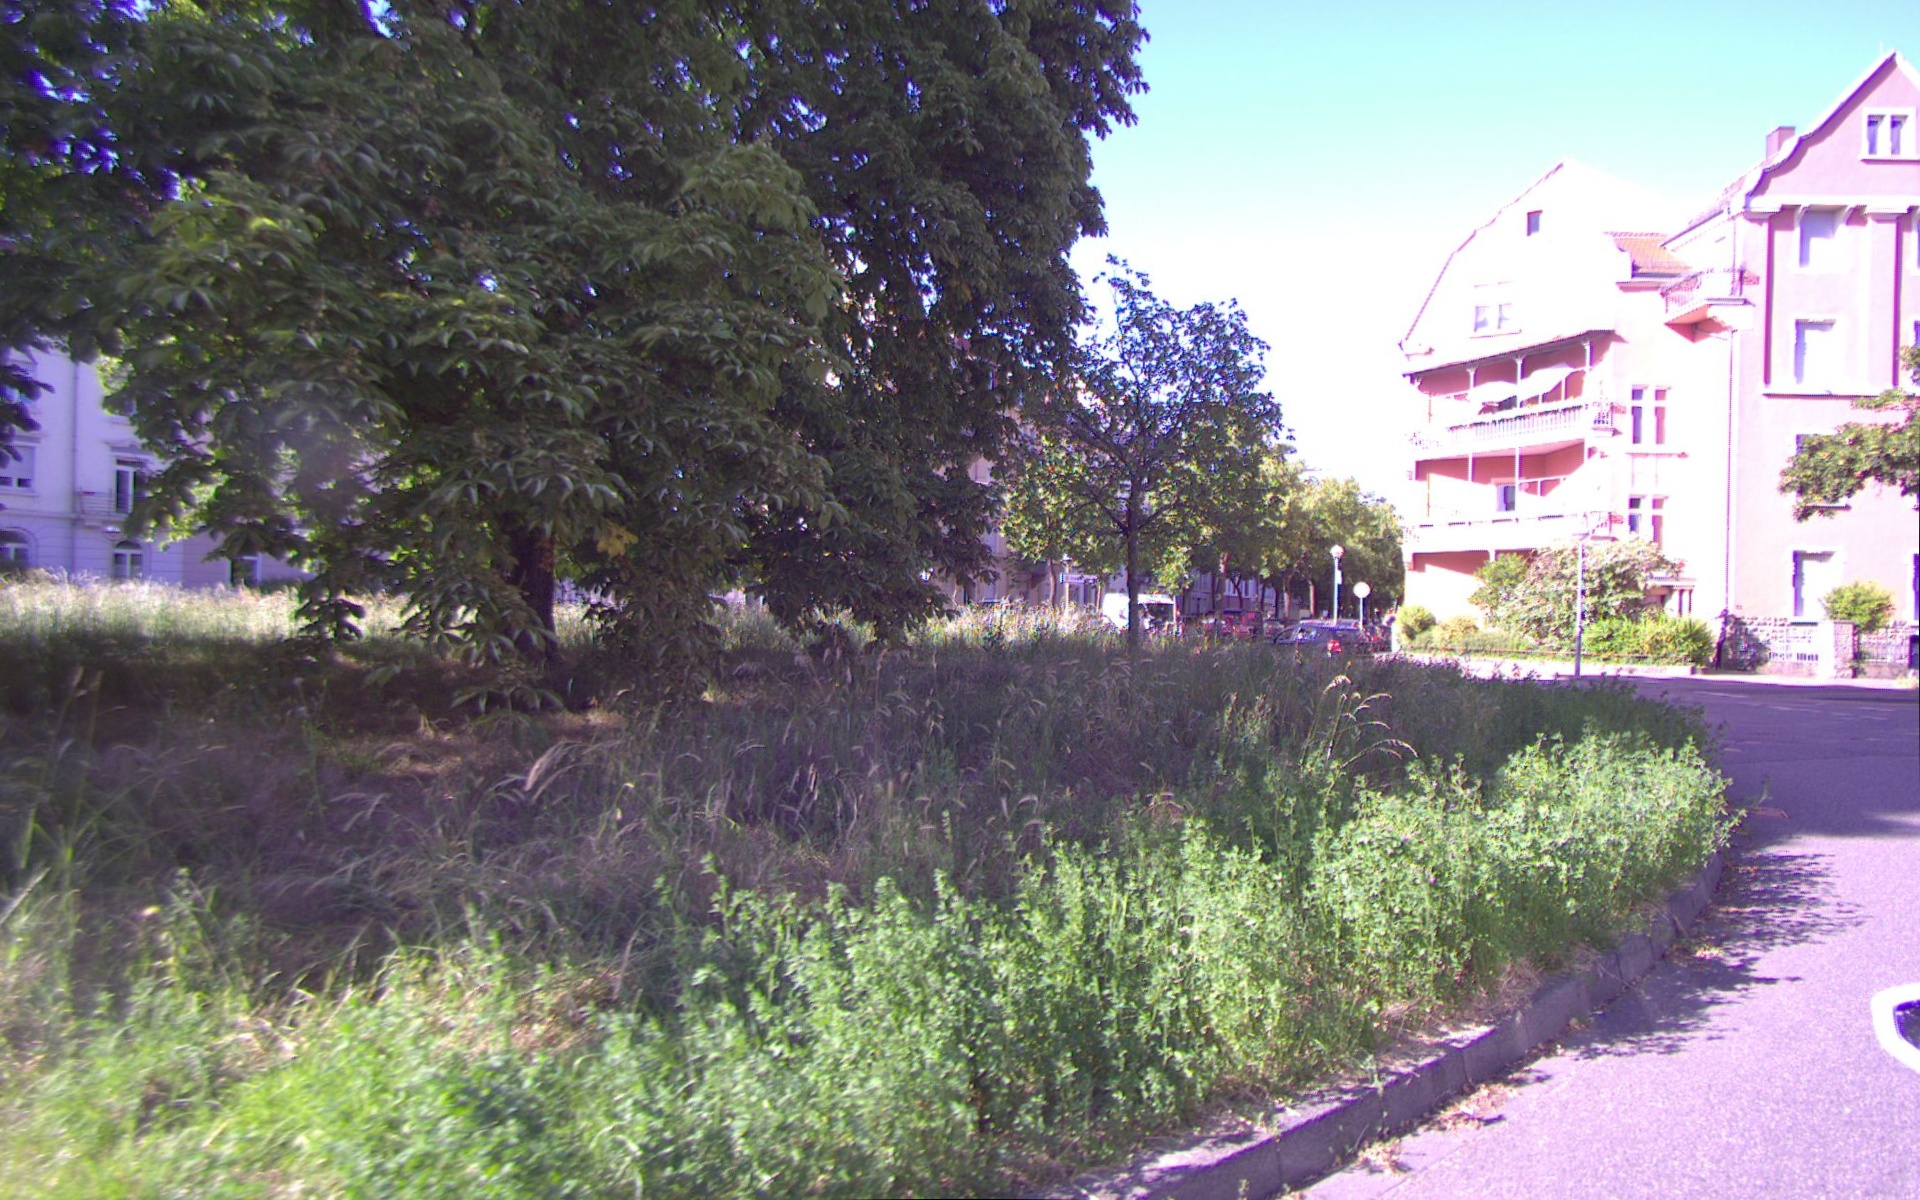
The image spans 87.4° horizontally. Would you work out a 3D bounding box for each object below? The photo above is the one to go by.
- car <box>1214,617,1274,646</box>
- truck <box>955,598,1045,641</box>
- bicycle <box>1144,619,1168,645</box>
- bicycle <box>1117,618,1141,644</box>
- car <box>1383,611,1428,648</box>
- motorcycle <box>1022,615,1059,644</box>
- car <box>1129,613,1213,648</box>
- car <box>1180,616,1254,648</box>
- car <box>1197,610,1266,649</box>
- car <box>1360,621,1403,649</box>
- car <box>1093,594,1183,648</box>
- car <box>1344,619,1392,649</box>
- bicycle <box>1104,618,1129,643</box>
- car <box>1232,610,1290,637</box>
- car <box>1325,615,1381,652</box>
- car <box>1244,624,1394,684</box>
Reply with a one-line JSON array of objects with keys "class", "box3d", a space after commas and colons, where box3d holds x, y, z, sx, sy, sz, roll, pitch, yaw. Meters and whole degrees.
[{"class": "car", "box3d": [16.542, 1.841, 58.626, 1.662, 1.489, 3.368, 2, 0, -20]}, {"class": "truck", "box3d": [2.393, 1.103, 57.182, 2.103, 2.322, 6.605, 0, -1, 32]}, {"class": "bicycle", "box3d": [8.835, 1.424, 45.225, 0.412, 1.100, 1.521, 2, 1, 35]}, {"class": "bicycle", "box3d": [7.514, 1.355, 44.569, 0.412, 1.100, 1.521, 2, 1, 35]}, {"class": "car", "box3d": [27.363, 1.807, 61.642, 1.908, 2.071, 4.265, 2, 0, 32]}, {"class": "motorcycle", "box3d": [3.818, 1.383, 47.699, 1.684, 1.287, 0.536, 2, 1, 38]}, {"class": "car", "box3d": [10.113, 1.455, 48.342, 1.670, 1.466, 3.886, 2, 0, -33]}, {"class": "car", "box3d": [13.335, 1.666, 52.189, 1.677, 1.466, 3.340, 2, 0, -44]}, {"class": "car", "box3d": [14.641, 1.579, 54.296, 1.668, 1.890, 3.358, 2, 0, -29]}, {"class": "car", "box3d": [23.143, 1.897, 55.059, 1.659, 1.400, 3.274, 2, 0, 32]}, {"class": "car", "box3d": [9.550, 1.059, 54.499, 2.070, 2.635, 6.352, 2, 0, -17]}, {"class": "car", "box3d": [20.644, 1.705, 50.762, 1.659, 1.400, 3.274, 2, 0, 32]}, {"class": "bicycle", "box3d": [6.960, 1.343, 44.593, 0.412, 1.104, 1.569, 2, 1, 35]}, {"class": "car", "box3d": [18.009, 1.392, 60.223, 1.662, 1.489, 3.368, 2, 0, -20]}, {"class": "car", "box3d": [18.193, 1.524, 46.394, 1.659, 1.583, 4.285, 2, 0, 32]}, {"class": "car", "box3d": [9.844, 1.439, 27.880, 1.842, 1.438, 3.983, 0, 0, -19]}]
